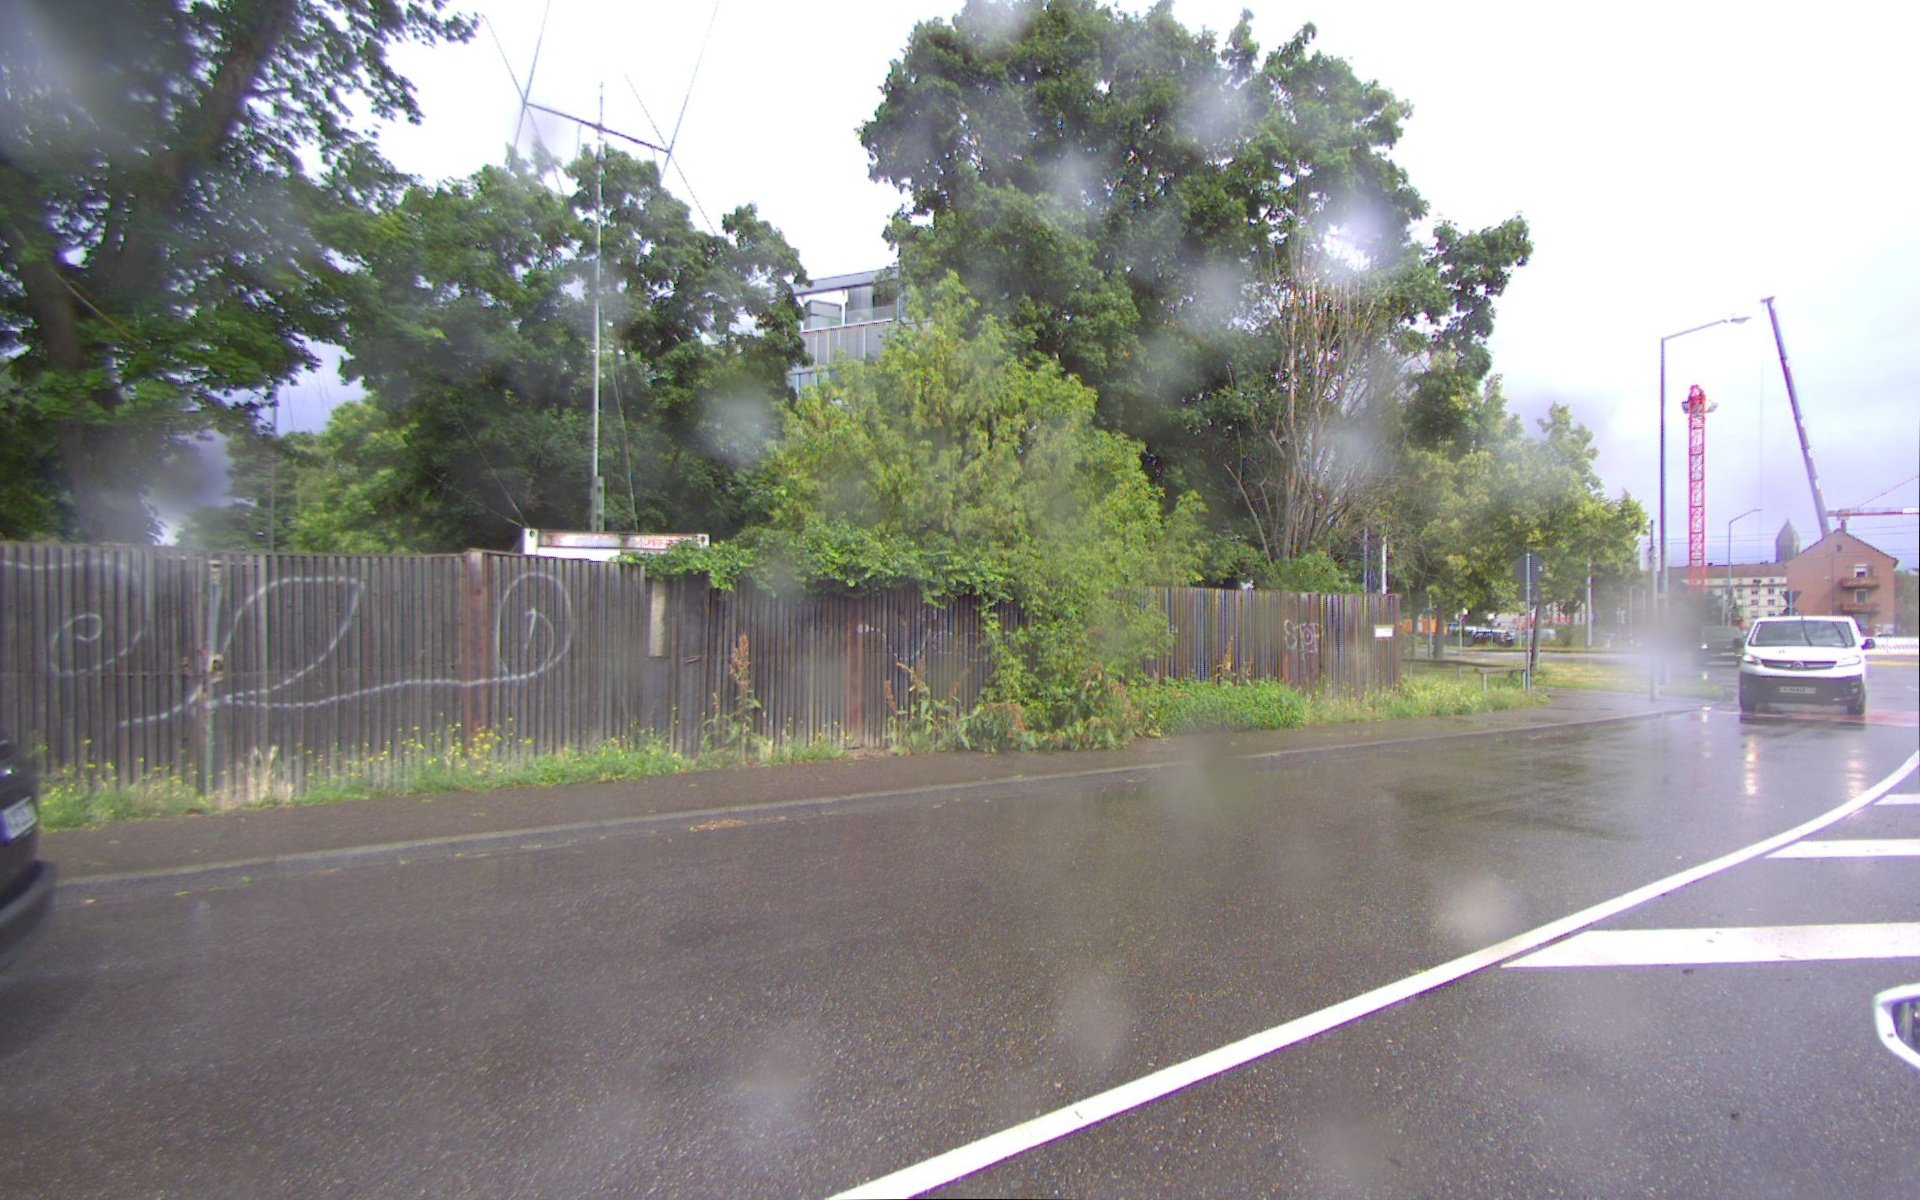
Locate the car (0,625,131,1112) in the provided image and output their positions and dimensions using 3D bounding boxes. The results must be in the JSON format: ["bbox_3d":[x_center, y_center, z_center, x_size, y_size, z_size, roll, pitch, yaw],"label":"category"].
[{"bbox_3d":[-5.064,0.791,2.743,4.138,1.502,1.862,2,-2,-36],"label":"car"}]

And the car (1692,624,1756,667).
[{"bbox_3d":[31.832,1.891,41.939,1.710,1.686,4.100,-2,-2,32],"label":"car"}]

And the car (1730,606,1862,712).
[{"bbox_3d":[17.297,1.136,20.691,1.867,1.901,5.104,-1,-2,42],"label":"car"}]

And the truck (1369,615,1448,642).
[{"bbox_3d":[41.570,2.632,93.364,2.403,2.475,6.678,1,-1,-27],"label":"truck"}]
